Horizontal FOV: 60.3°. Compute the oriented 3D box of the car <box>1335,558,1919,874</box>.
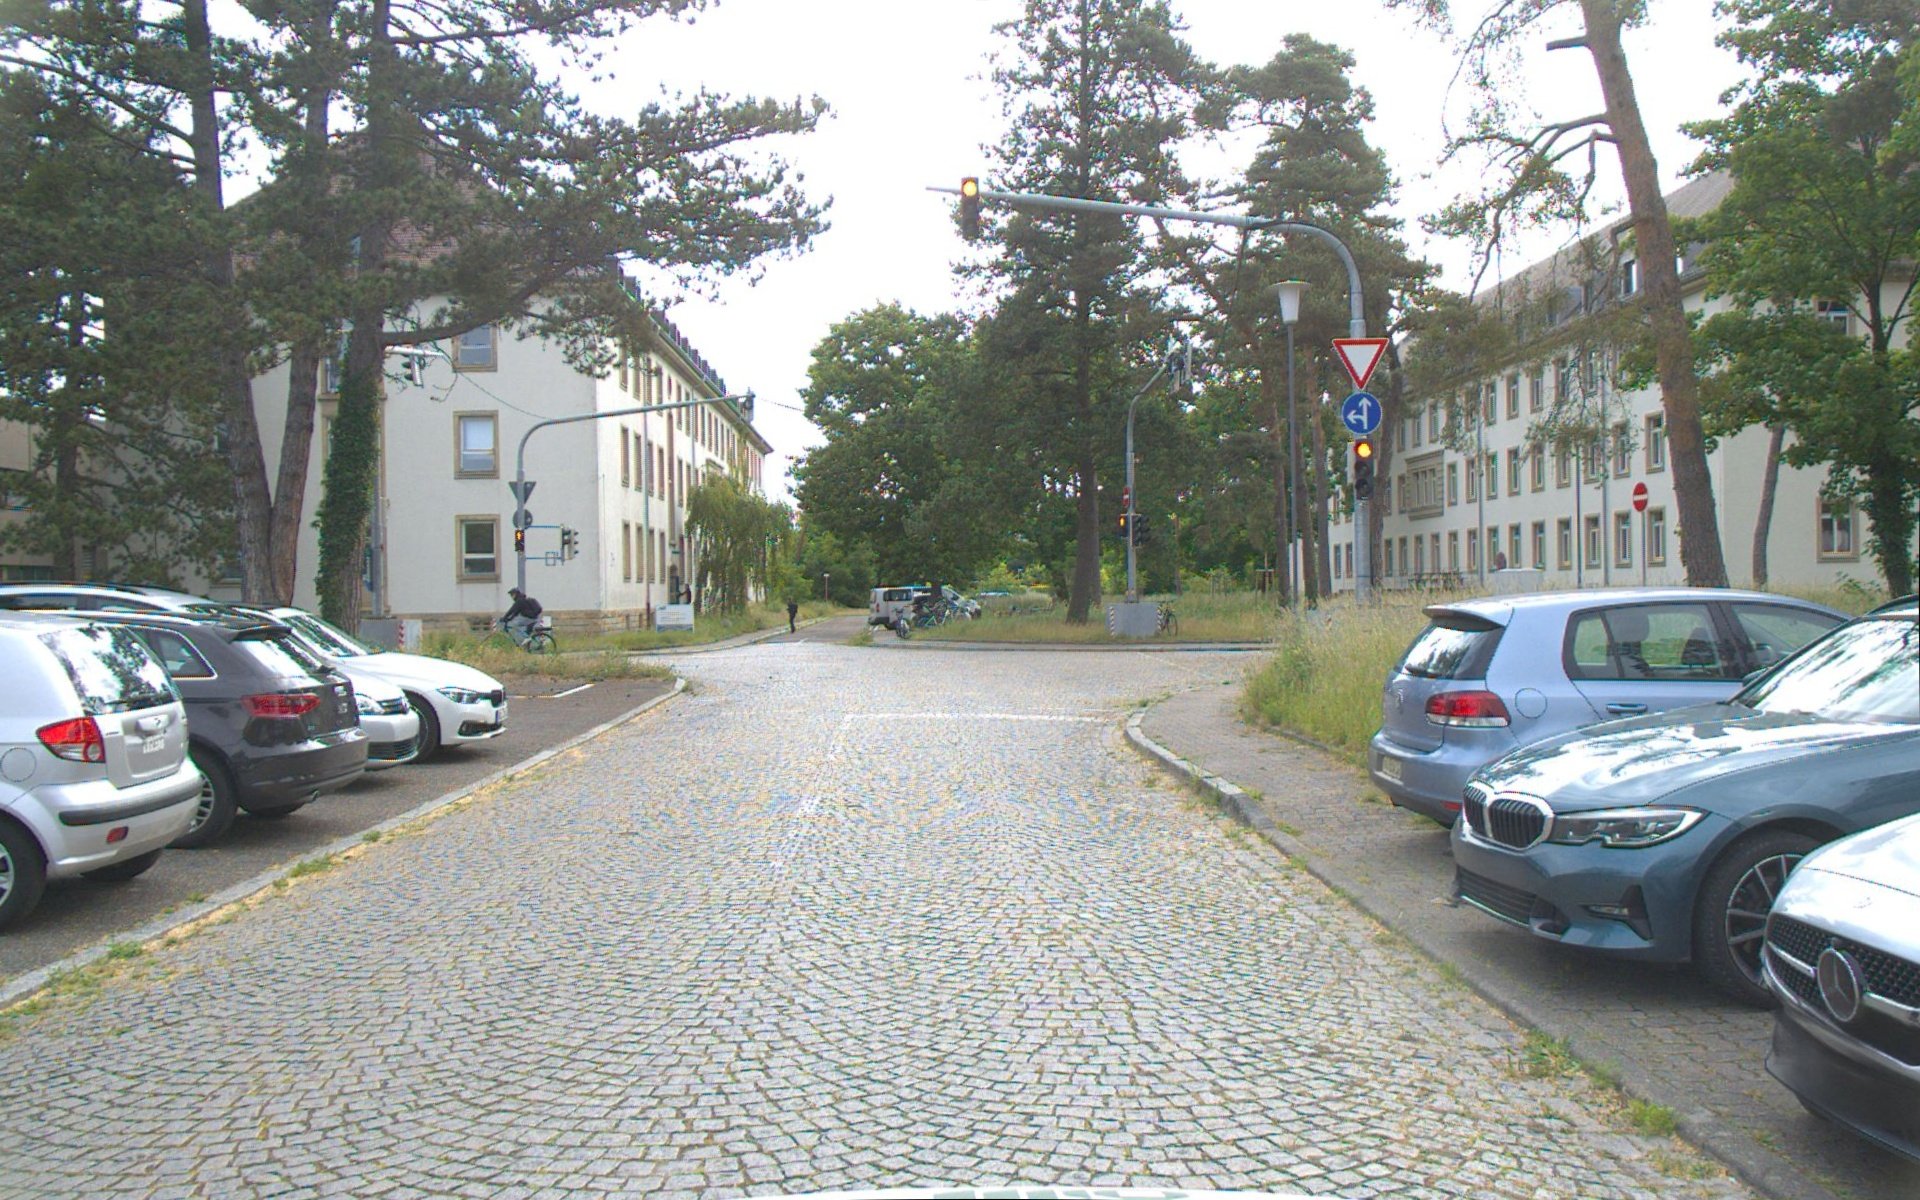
[{"bbox_3d":[4.285,0.581,9.482,3.847,1.503,1.642,-3,0,-1],"label":"car"}]

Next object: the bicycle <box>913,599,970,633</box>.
[{"bbox_3d":[-0.653,0.571,58.156,1.919,1.152,0.587,-1,0,-9],"label":"bicycle"}]

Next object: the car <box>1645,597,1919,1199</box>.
[{"bbox_3d":[4.318,0.648,4.267,4.339,1.441,1.868,-3,0,-8],"label":"car"}]

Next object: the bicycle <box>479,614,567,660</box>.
[{"bbox_3d":[-10.424,0.876,39.459,1.916,1.042,0.605,-1,0,-2],"label":"bicycle"}]

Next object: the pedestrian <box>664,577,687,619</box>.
[{"bbox_3d":[-12.625,-0.082,73.447,0.767,1.869,0.732,-1,0,-33],"label":"pedestrian"}]

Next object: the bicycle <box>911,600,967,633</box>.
[{"bbox_3d":[-0.736,0.594,58.786,1.919,1.136,0.587,-1,0,-9],"label":"bicycle"}]

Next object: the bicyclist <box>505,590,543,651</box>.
[{"bbox_3d":[-10.400,0.488,39.458,0.734,1.435,0.605,-1,0,-2],"label":"bicyclist"}]

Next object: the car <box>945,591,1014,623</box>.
[{"bbox_3d":[0.921,0.331,80.189,3.169,1.441,1.723,-1,0,-5],"label":"car"}]

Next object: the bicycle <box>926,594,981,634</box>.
[{"bbox_3d":[-0.235,0.503,59.637,1.919,1.408,0.587,-1,0,-9],"label":"bicycle"}]

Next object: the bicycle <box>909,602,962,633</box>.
[{"bbox_3d":[-0.890,0.617,60.264,1.936,1.088,0.581,-1,0,-32],"label":"bicycle"}]

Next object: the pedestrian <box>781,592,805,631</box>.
[{"bbox_3d":[-7.250,0.504,71.755,0.758,1.647,0.741,-1,0,22],"label":"pedestrian"}]

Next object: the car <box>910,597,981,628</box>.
[{"bbox_3d":[-0.642,0.538,72.883,2.949,1.290,1.532,-1,0,-8],"label":"car"}]

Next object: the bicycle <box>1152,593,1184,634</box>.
[{"bbox_3d":[5.817,0.369,46.287,0.574,1.125,1.961,-1,0,-2],"label":"bicycle"}]

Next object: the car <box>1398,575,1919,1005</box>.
[{"bbox_3d":[4.441,0.615,7.035,4.589,1.441,1.869,-3,0,-4],"label":"car"}]

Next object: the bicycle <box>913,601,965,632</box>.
[{"bbox_3d":[-0.786,0.614,61.619,1.936,1.088,0.581,-1,0,-32],"label":"bicycle"}]

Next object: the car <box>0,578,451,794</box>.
[{"bbox_3d":[-6.395,0.669,13.655,3.871,1.590,1.648,2,0,-5],"label":"car"}]

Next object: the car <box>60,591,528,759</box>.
[{"bbox_3d":[-6.392,0.698,16.193,3.869,1.446,1.649,2,0,-3],"label":"car"}]

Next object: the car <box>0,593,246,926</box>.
[{"bbox_3d":[-5.761,0.700,8.295,3.630,1.505,1.581,2,0,-5],"label":"car"}]

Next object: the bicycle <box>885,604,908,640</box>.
[{"bbox_3d":[-2.120,0.704,54.903,0.591,1.152,1.958,-1,0,-7],"label":"bicycle"}]

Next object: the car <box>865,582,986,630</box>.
[{"bbox_3d":[-1.628,0.265,76.211,5.265,1.958,2.019,-2,0,-11],"label":"car"}]

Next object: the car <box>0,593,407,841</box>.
[{"bbox_3d":[-5.752,0.708,10.894,3.673,1.453,1.581,2,0,-5],"label":"car"}]

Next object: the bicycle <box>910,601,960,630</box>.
[{"bbox_3d":[-0.988,0.594,65.299,1.932,1.088,0.583,-1,0,-27],"label":"bicycle"}]
